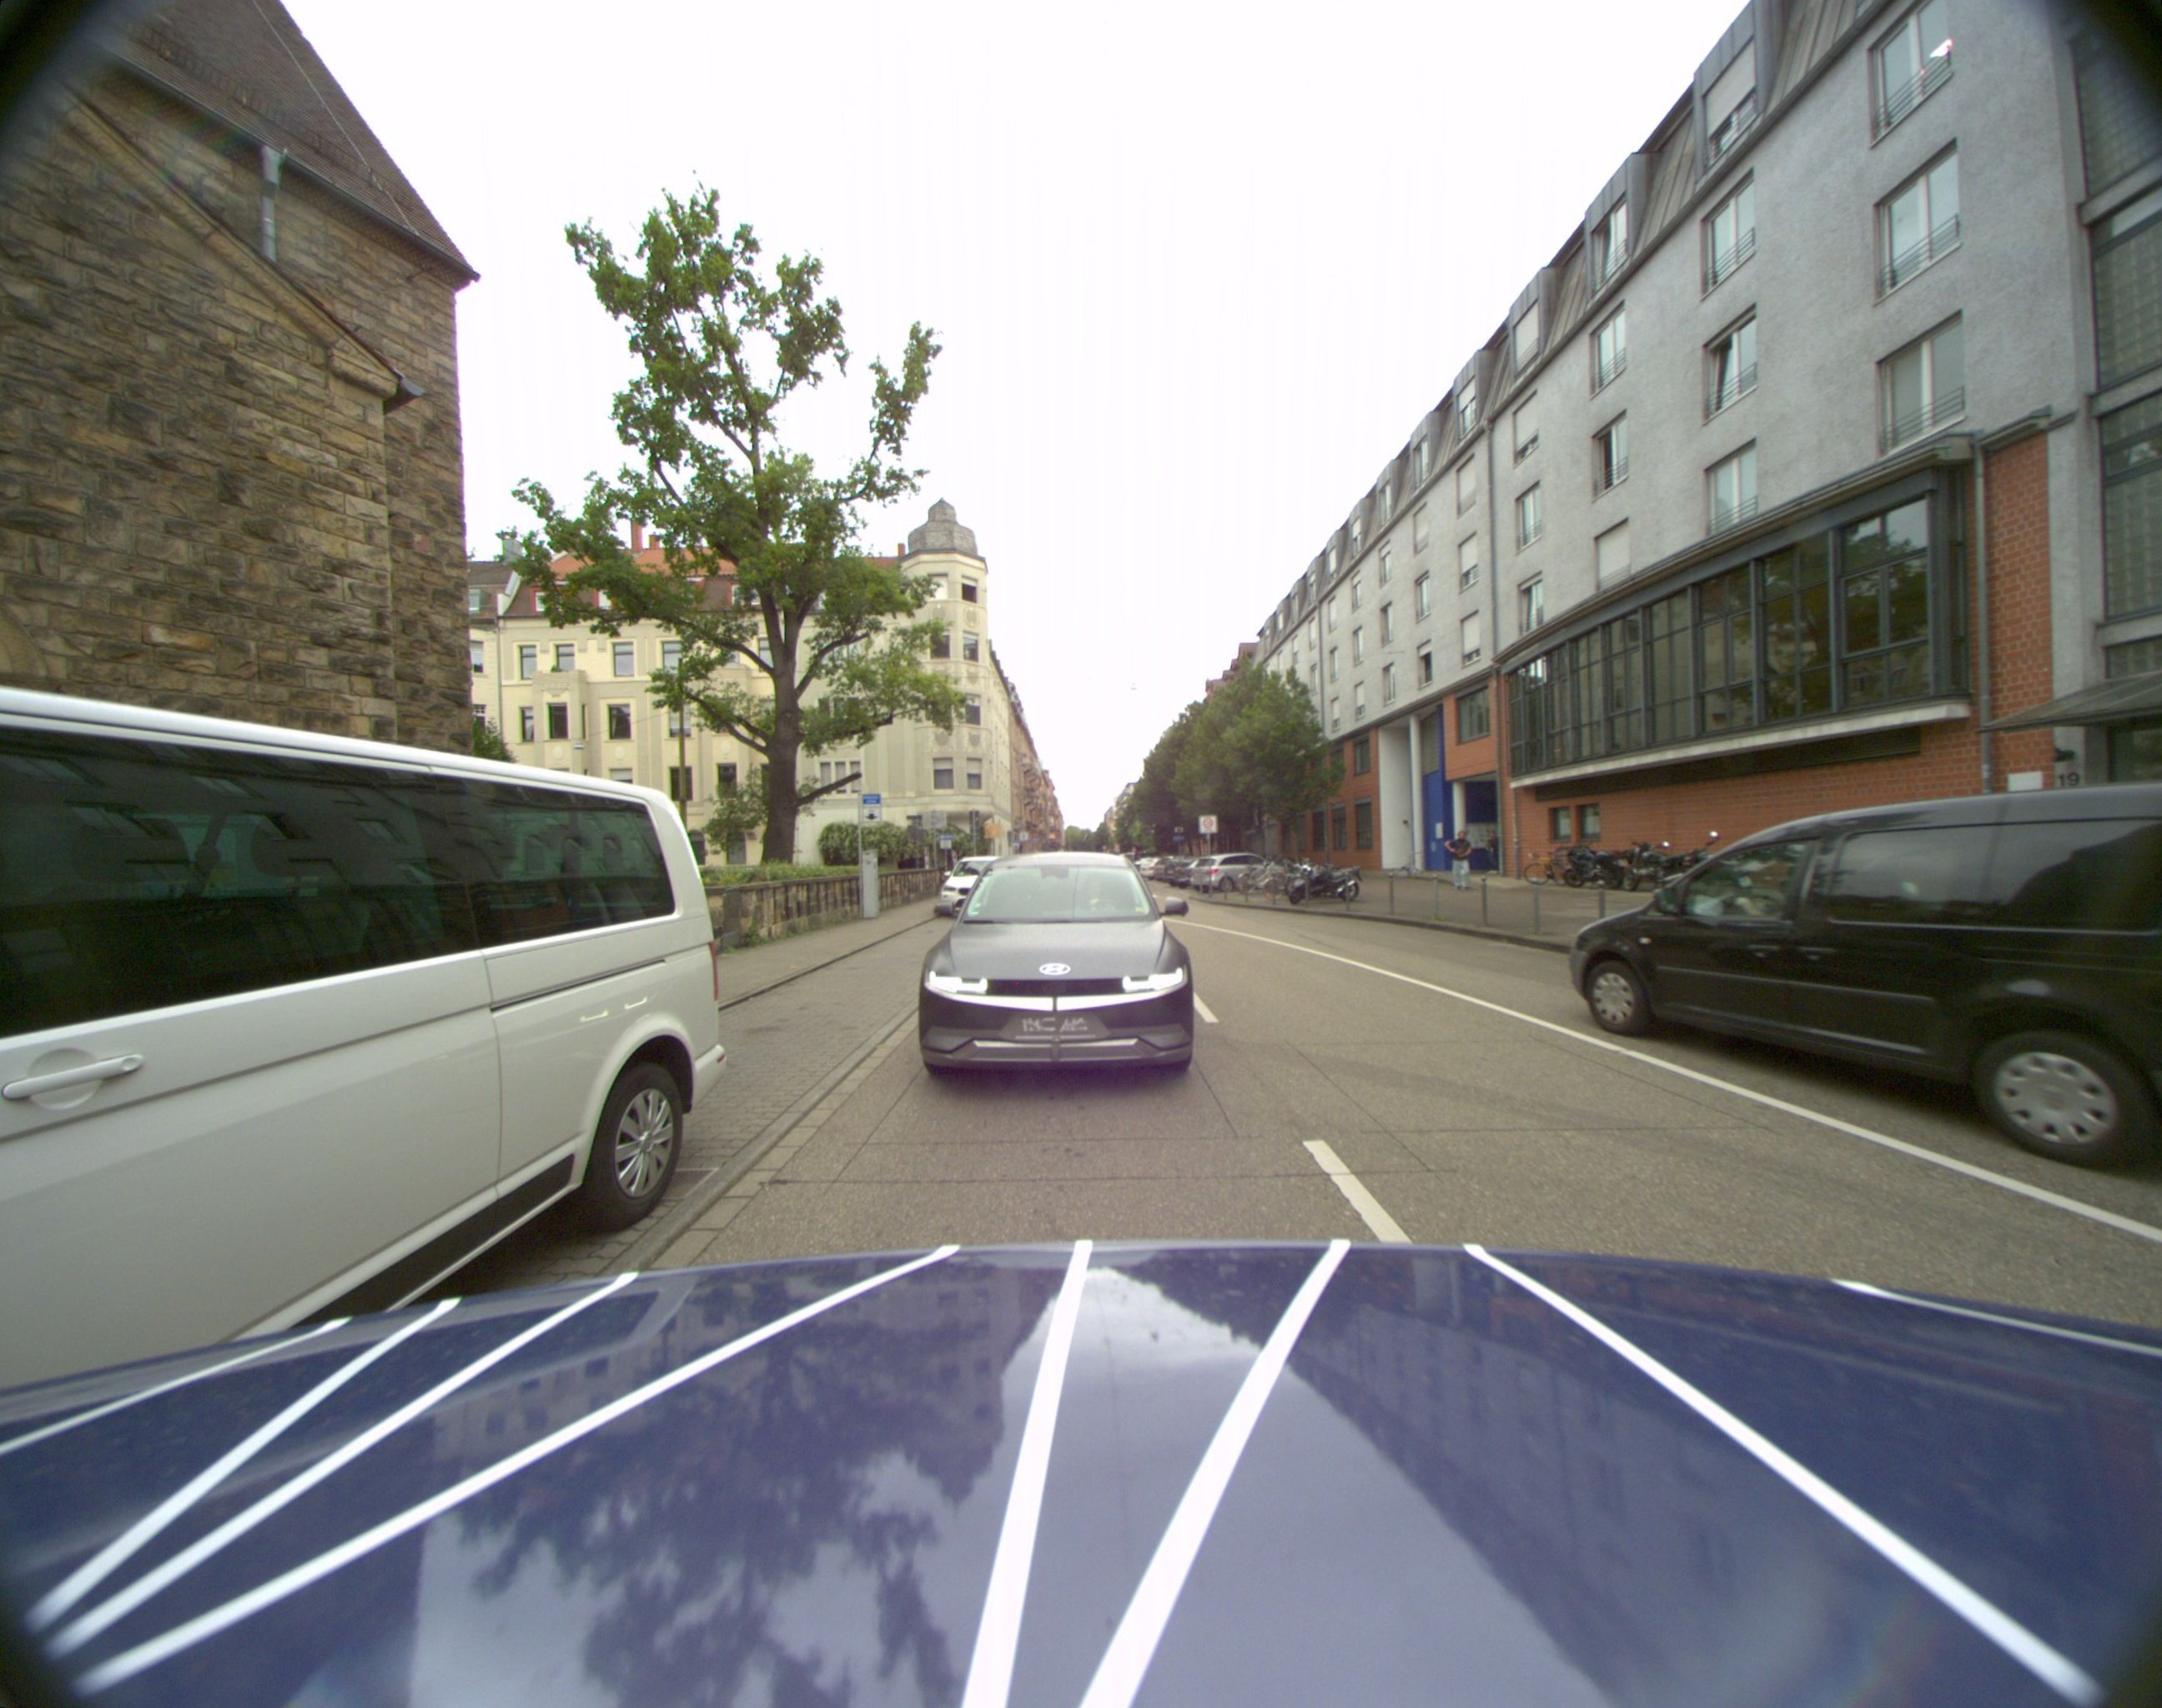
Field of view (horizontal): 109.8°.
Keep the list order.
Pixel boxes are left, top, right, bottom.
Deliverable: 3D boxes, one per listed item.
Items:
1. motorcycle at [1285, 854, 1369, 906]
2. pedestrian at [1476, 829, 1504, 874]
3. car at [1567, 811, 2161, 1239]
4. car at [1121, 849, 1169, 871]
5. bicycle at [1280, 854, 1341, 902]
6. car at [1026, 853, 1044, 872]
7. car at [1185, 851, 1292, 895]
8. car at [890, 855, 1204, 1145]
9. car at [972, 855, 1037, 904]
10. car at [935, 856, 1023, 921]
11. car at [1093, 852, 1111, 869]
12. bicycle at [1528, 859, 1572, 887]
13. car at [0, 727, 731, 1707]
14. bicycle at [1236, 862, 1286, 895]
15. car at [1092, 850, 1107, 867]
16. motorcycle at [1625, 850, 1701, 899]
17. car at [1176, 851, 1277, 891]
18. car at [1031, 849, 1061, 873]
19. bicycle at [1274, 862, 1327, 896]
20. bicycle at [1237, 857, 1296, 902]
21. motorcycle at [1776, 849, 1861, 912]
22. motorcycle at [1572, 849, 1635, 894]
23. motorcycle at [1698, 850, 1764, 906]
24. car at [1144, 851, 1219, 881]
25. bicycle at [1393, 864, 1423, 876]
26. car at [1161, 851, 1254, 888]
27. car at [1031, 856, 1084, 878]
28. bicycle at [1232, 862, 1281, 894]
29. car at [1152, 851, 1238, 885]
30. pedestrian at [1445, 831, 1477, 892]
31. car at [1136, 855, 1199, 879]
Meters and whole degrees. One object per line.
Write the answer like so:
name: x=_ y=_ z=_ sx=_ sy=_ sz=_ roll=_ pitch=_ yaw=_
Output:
motorcycle: x=6.953 y=0.721 z=21.505 sx=2.124 sy=1.345 sz=0.599 roll=-3 pitch=1 yaw=1
pedestrian: x=15.287 y=-0.092 z=28.387 sx=0.686 sy=1.640 sz=0.622 roll=-2 pitch=1 yaw=2
car: x=5.297 y=0.704 z=4.778 sx=1.698 sy=1.793 sz=4.128 roll=-1 pitch=0 yaw=-3
car: x=6.075 y=0.582 z=72.350 sx=4.004 sy=1.897 sz=1.996 roll=-2 pitch=0 yaw=-22
bicycle: x=6.863 y=0.704 z=22.705 sx=1.630 sy=1.345 sz=0.416 roll=-3 pitch=1 yaw=-1
car: x=-3.904 y=0.726 z=64.677 sx=1.336 sy=1.462 sz=2.857 roll=-2 pitch=1 yaw=1
car: x=6.509 y=0.750 z=31.458 sx=4.004 sy=1.619 sz=1.769 roll=-2 pitch=0 yaw=-22
car: x=-0.177 y=0.871 z=6.511 sx=1.820 sy=1.675 sz=4.000 roll=-2 pitch=0 yaw=1
car: x=-2.646 y=0.852 z=27.137 sx=1.820 sy=1.556 sz=4.000 roll=-2 pitch=0 yaw=1
car: x=-2.717 y=0.876 z=21.137 sx=1.820 sy=1.556 sz=4.000 roll=-2 pitch=0 yaw=1
car: x=2.505 y=0.767 z=91.151 sx=1.998 sy=1.897 sz=4.000 roll=-2 pitch=0 yaw=1
bicycle: x=13.852 y=0.557 z=22.466 sx=0.336 sy=0.782 sz=1.581 roll=-2 pitch=0 yaw=1
car: x=-2.777 y=0.756 z=1.460 sx=1.810 sy=1.908 sz=5.163 roll=-2 pitch=0 yaw=-1
bicycle: x=6.393 y=0.881 z=27.072 sx=1.630 sy=1.067 sz=0.416 roll=-3 pitch=1 yaw=-1
car: x=2.337 y=0.541 z=97.741 sx=1.875 sy=2.002 sz=3.999 roll=-2 pitch=1 yaw=1
motorcycle: x=13.645 y=0.460 z=17.874 sx=0.446 sy=1.091 sz=1.763 roll=-2 pitch=0 yaw=1
car: x=6.522 y=0.740 z=34.118 sx=4.004 sy=1.619 sz=1.996 roll=-2 pitch=0 yaw=-22
car: x=-2.417 y=0.470 z=53.616 sx=1.820 sy=1.556 sz=4.000 roll=-2 pitch=0 yaw=1
bicycle: x=7.523 y=0.845 z=26.039 sx=1.630 sy=1.067 sz=0.416 roll=-3 pitch=1 yaw=-1
bicycle: x=5.710 y=0.786 z=23.433 sx=1.630 sy=1.282 sz=0.416 roll=-3 pitch=1 yaw=-1
motorcycle: x=13.513 y=0.457 z=13.980 sx=0.445 sy=1.091 sz=1.765 roll=-1 pitch=0 yaw=21
motorcycle: x=13.641 y=0.438 z=19.882 sx=0.446 sy=1.091 sz=1.763 roll=-2 pitch=0 yaw=1
motorcycle: x=13.311 y=0.466 z=15.596 sx=0.445 sy=1.091 sz=1.765 roll=-1 pitch=0 yaw=21
car: x=6.058 y=0.718 z=46.052 sx=4.004 sy=1.619 sz=1.996 roll=-2 pitch=0 yaw=-22
bicycle: x=13.389 y=0.664 z=31.108 sx=1.010 sy=0.434 sz=0.527 roll=-2 pitch=2 yaw=2
car: x=6.202 y=0.728 z=37.336 sx=4.004 sy=1.619 sz=1.996 roll=-2 pitch=0 yaw=-22
car: x=-1.872 y=0.988 z=59.425 sx=1.916 sy=1.597 sz=4.239 roll=-2 pitch=1 yaw=-40
bicycle: x=6.366 y=0.876 z=27.576 sx=1.630 sy=1.067 sz=0.416 roll=-3 pitch=1 yaw=-1
car: x=6.013 y=0.716 z=40.106 sx=4.004 sy=1.619 sz=1.996 roll=-2 pitch=0 yaw=-22
pedestrian: x=11.543 y=0.214 z=23.071 sx=0.621 sy=1.812 sz=0.642 roll=-2 pitch=1 yaw=1
car: x=6.002 y=0.868 z=52.689 sx=4.004 sy=1.488 sz=1.735 roll=-2 pitch=0 yaw=-22
